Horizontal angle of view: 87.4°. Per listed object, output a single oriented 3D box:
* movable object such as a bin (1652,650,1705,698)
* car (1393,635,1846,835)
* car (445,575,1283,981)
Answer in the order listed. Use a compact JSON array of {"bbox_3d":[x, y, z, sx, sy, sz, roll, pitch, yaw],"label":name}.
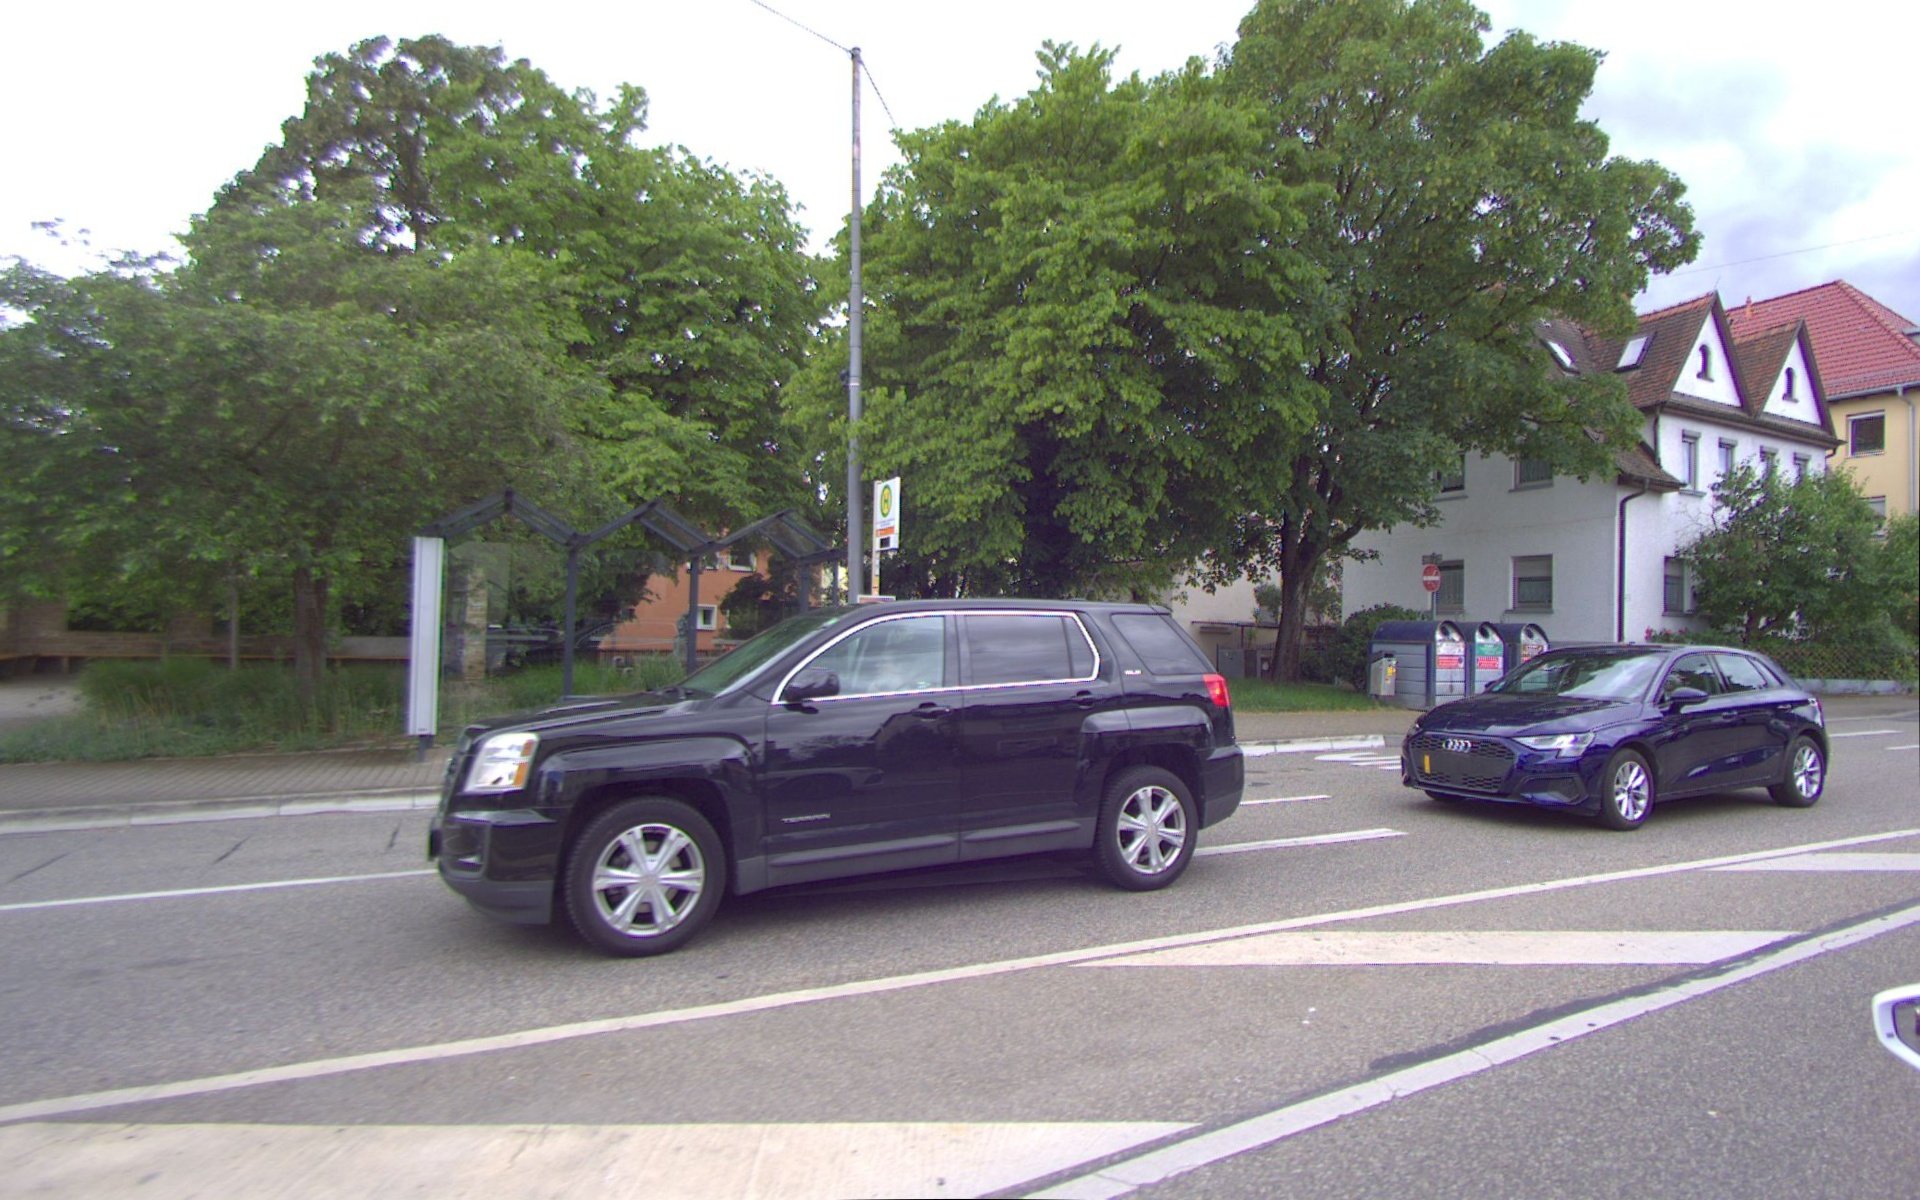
[{"bbox_3d":[16.366,1.673,22.903,0.708,1.033,0.720,0,2,7],"label":"movable object such as a bin"},{"bbox_3d":[5.894,1.078,8.902,4.077,1.438,1.558,2,-3,-27],"label":"car"},{"bbox_3d":[-0.435,0.859,5.931,4.535,1.656,1.753,2,-4,-26],"label":"car"}]
